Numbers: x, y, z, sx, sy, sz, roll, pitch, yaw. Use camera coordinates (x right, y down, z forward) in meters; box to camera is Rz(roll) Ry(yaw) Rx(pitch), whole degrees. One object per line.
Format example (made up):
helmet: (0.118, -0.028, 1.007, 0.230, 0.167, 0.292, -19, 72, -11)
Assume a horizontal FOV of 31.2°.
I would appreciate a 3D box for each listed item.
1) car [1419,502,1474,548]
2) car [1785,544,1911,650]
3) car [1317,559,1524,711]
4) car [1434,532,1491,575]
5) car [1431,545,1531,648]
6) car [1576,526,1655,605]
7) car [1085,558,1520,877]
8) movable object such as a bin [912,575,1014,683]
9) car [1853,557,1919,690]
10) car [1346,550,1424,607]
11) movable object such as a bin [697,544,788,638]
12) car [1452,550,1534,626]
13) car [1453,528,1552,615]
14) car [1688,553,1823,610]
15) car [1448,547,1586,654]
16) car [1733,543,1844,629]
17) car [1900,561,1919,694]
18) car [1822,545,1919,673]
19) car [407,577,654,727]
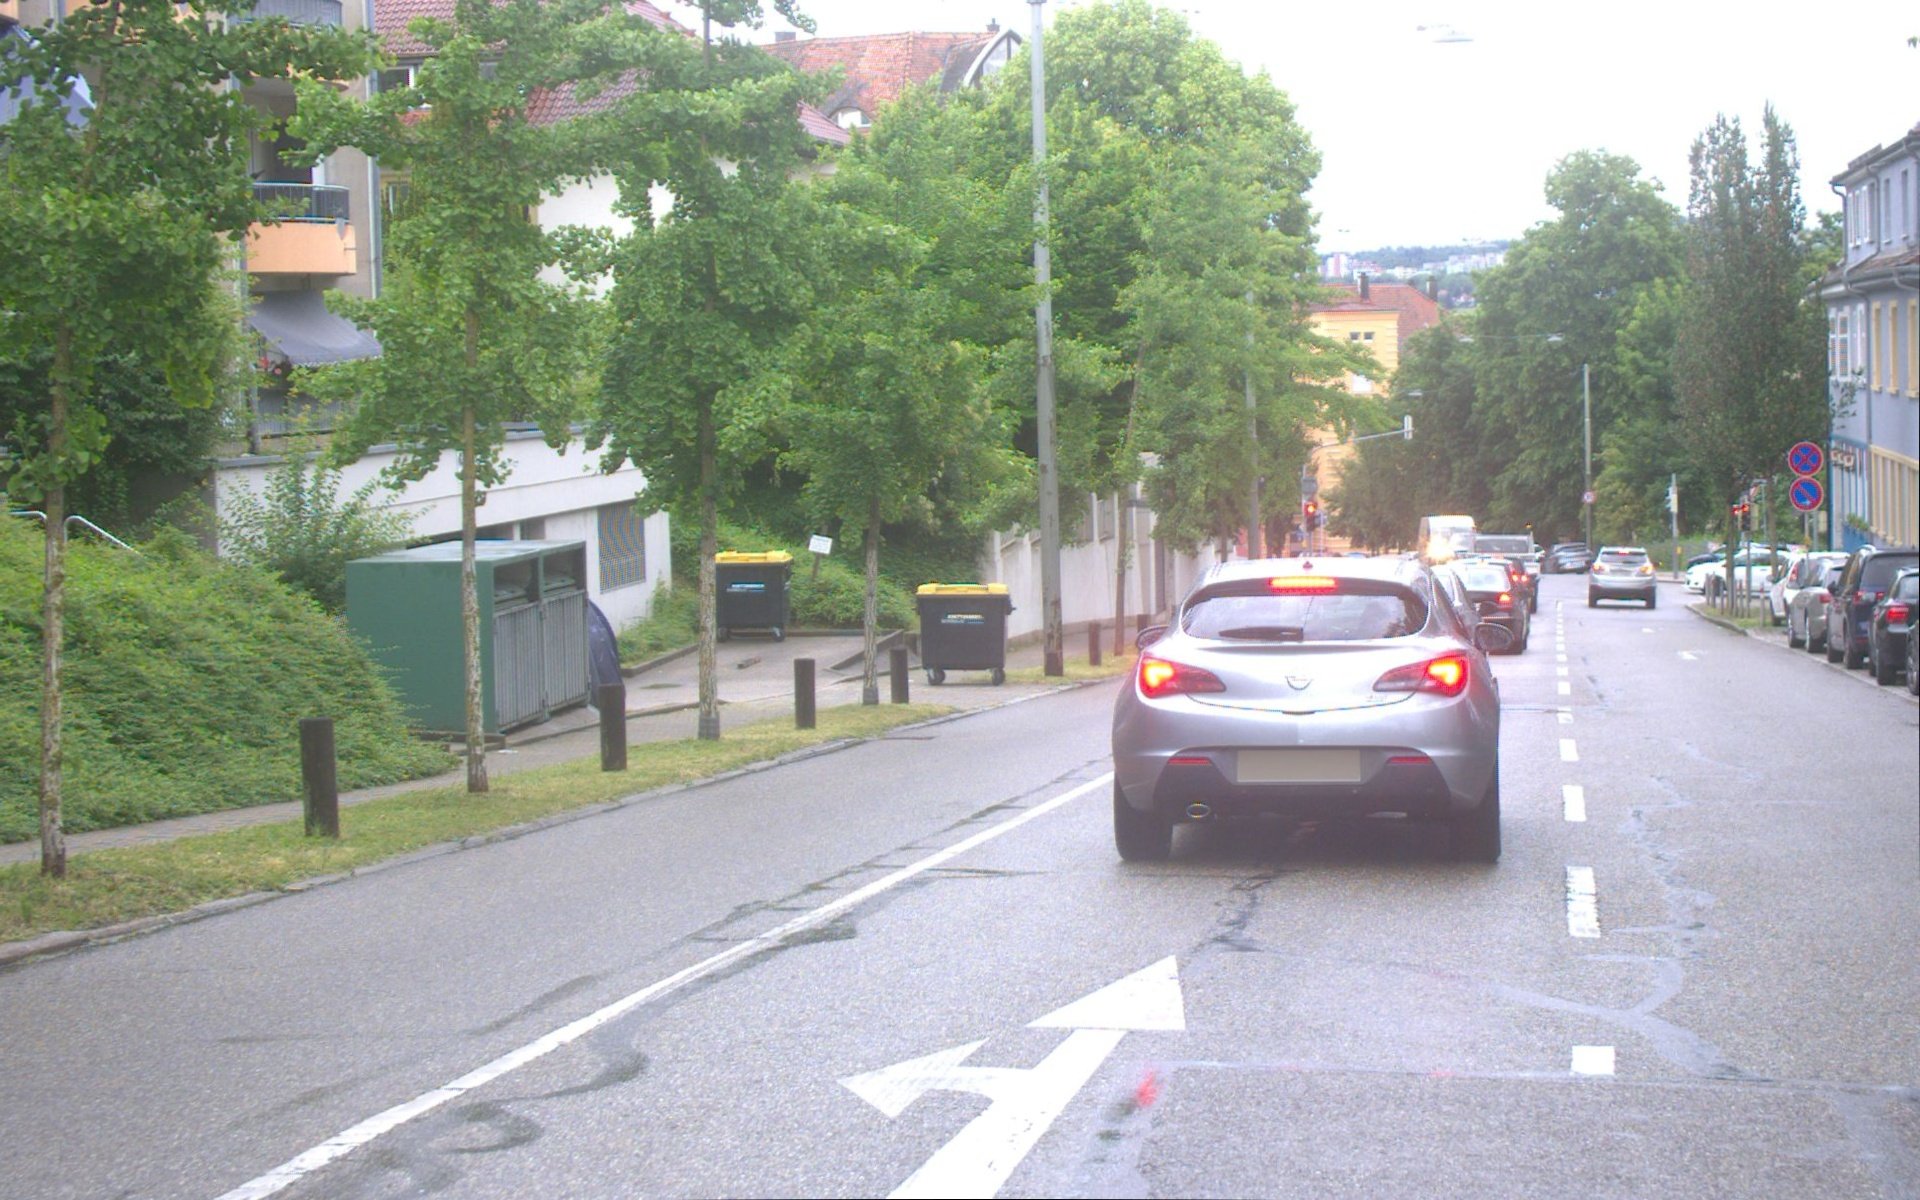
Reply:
car: (20.003, -3.092, 141.162, 1.994, 1.778, 3.999, 2, 2, 10)
car: (13.878, -0.073, 53.876, 1.585, 1.488, 4.288, -2, 1, 11)
car: (4.476, 0.301, 33.890, 1.798, 1.318, 4.000, 0, 2, 4)
car: (19.572, -1.836, 133.812, 1.994, 1.530, 4.307, 2, 2, 10)
car: (9.904, -0.106, 65.559, 1.769, 1.775, 3.975, 2, 2, 8)
car: (18.204, -0.986, 95.625, 1.994, 2.029, 4.733, 2, 2, 10)
car: (1.732, 0.513, 17.512, 1.945, 1.427, 3.883, -1, 1, 6)
movable object such as a bin: (0.043, 0.376, 45.077, 1.272, 1.382, 0.489, 0, 2, 8)
car: (11.916, 0.234, 41.926, 1.682, 1.459, 3.998, -2, 1, 11)
car: (12.150, -0.632, 98.173, 1.851, 1.464, 4.086, -4, 0, 11)
movable object such as a bin: (-3.251, -0.140, 51.409, 1.272, 1.382, 0.489, 1, 2, 8)
car: (12.298, -0.291, 79.493, 1.755, 1.645, 3.999, 2, 1, 8)
car: (13.898, -0.766, 87.826, 2.335, 2.029, 4.733, 2, 2, 10)
car: (25.156, -0.598, 108.870, 3.851, 1.474, 1.828, -4, 1, 5)
car: (8.578, -0.028, 53.216, 1.961, 1.467, 3.950, 2, 2, 8)
car: (16.566, -0.308, 68.881, 1.907, 1.565, 3.998, -2, 1, 11)
car: (10.960, 0.279, 36.273, 1.504, 1.430, 3.999, -2, 0, 9)
car: (12.684, 0.084, 46.572, 1.686, 1.565, 3.998, -2, 1, 11)
car: (-4.753, 0.543, 38.567, 1.742, 1.451, 3.883, -4, 0, 7)
